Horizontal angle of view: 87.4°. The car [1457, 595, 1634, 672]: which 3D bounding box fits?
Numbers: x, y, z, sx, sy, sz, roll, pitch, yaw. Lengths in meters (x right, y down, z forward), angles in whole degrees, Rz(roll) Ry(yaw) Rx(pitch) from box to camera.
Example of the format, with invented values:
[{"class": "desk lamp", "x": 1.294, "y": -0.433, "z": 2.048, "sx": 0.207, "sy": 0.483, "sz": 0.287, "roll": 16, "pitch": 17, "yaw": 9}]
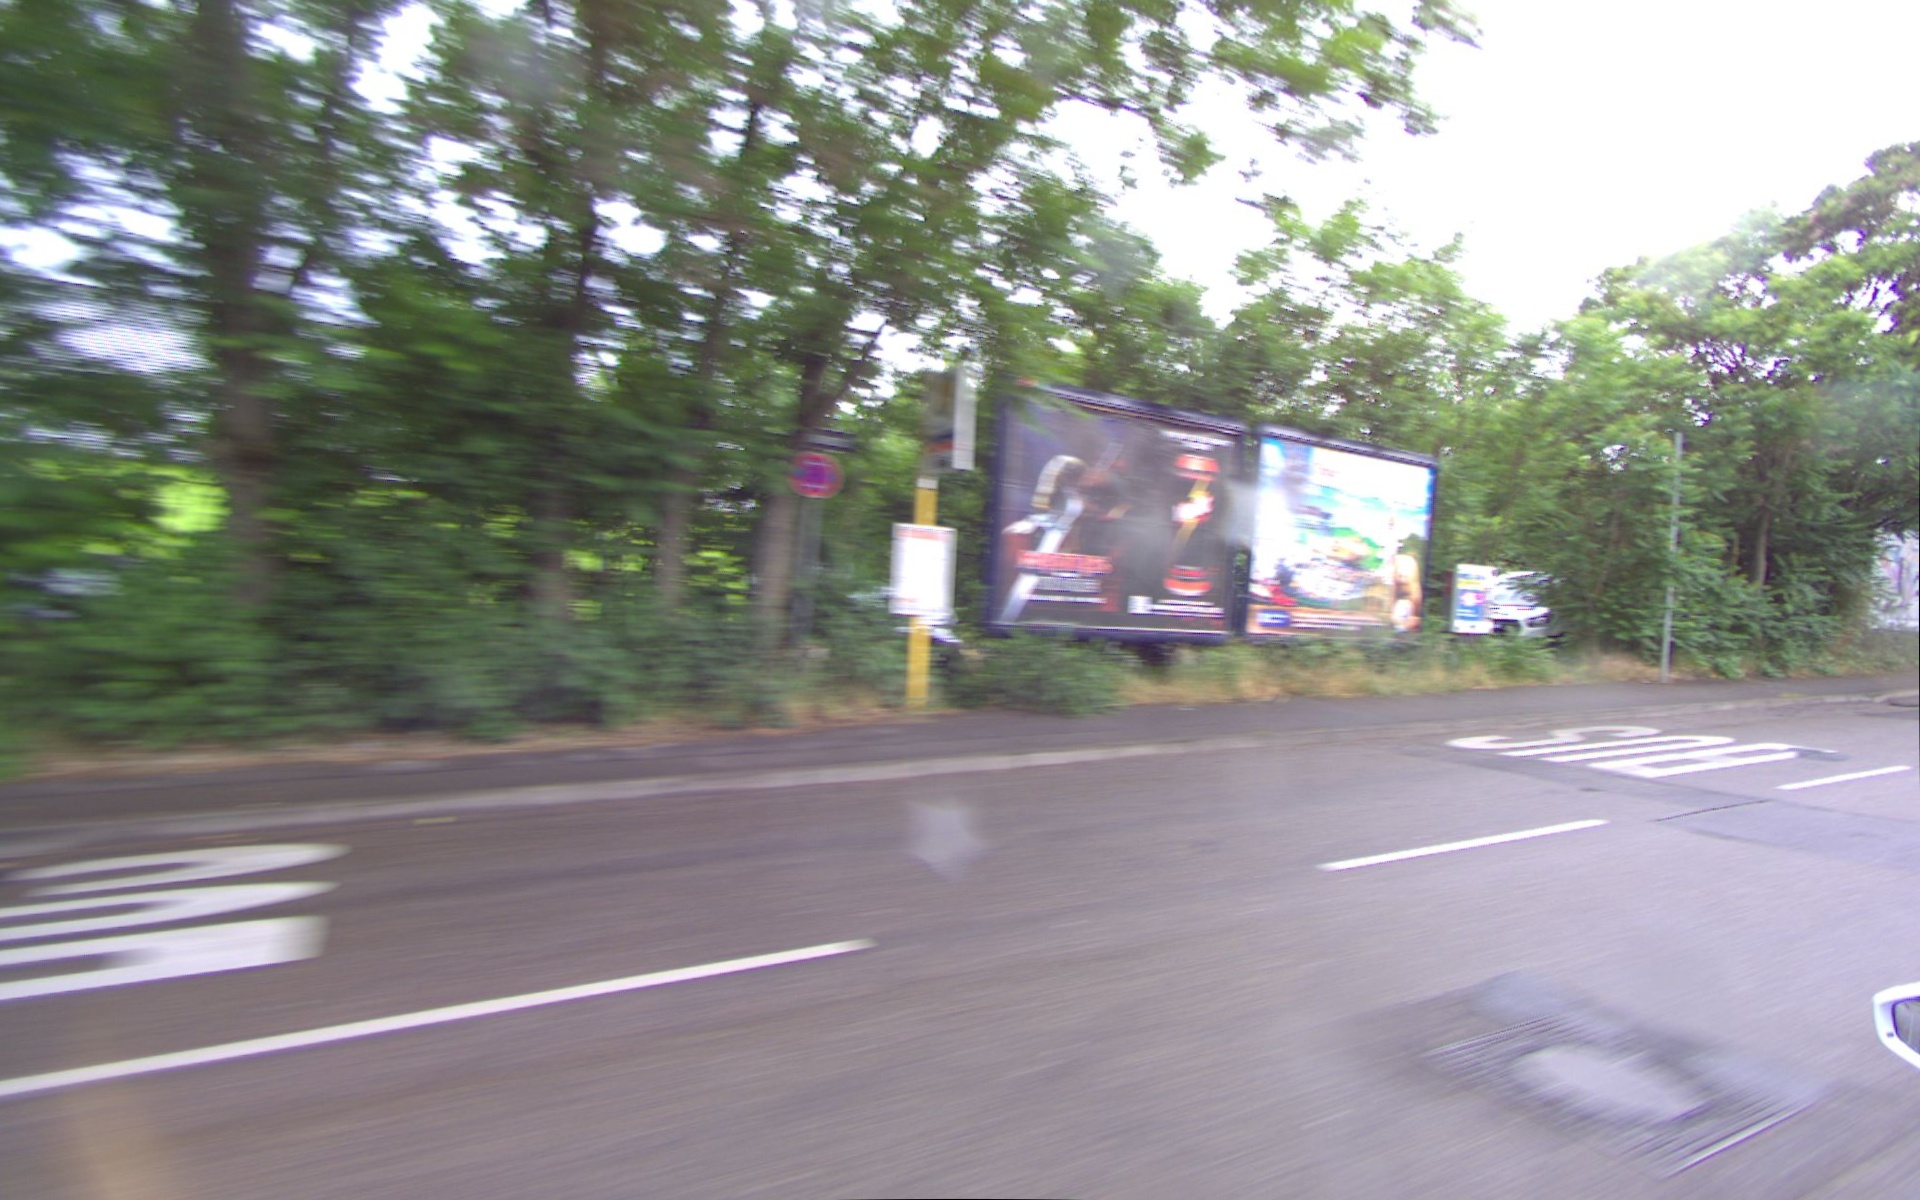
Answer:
[{"class": "car", "x": 13.305, "y": 0.746, "z": 22.802, "sx": 3.954, "sy": 1.515, "sz": 1.693, "roll": 1, "pitch": 3, "yaw": -31}]
